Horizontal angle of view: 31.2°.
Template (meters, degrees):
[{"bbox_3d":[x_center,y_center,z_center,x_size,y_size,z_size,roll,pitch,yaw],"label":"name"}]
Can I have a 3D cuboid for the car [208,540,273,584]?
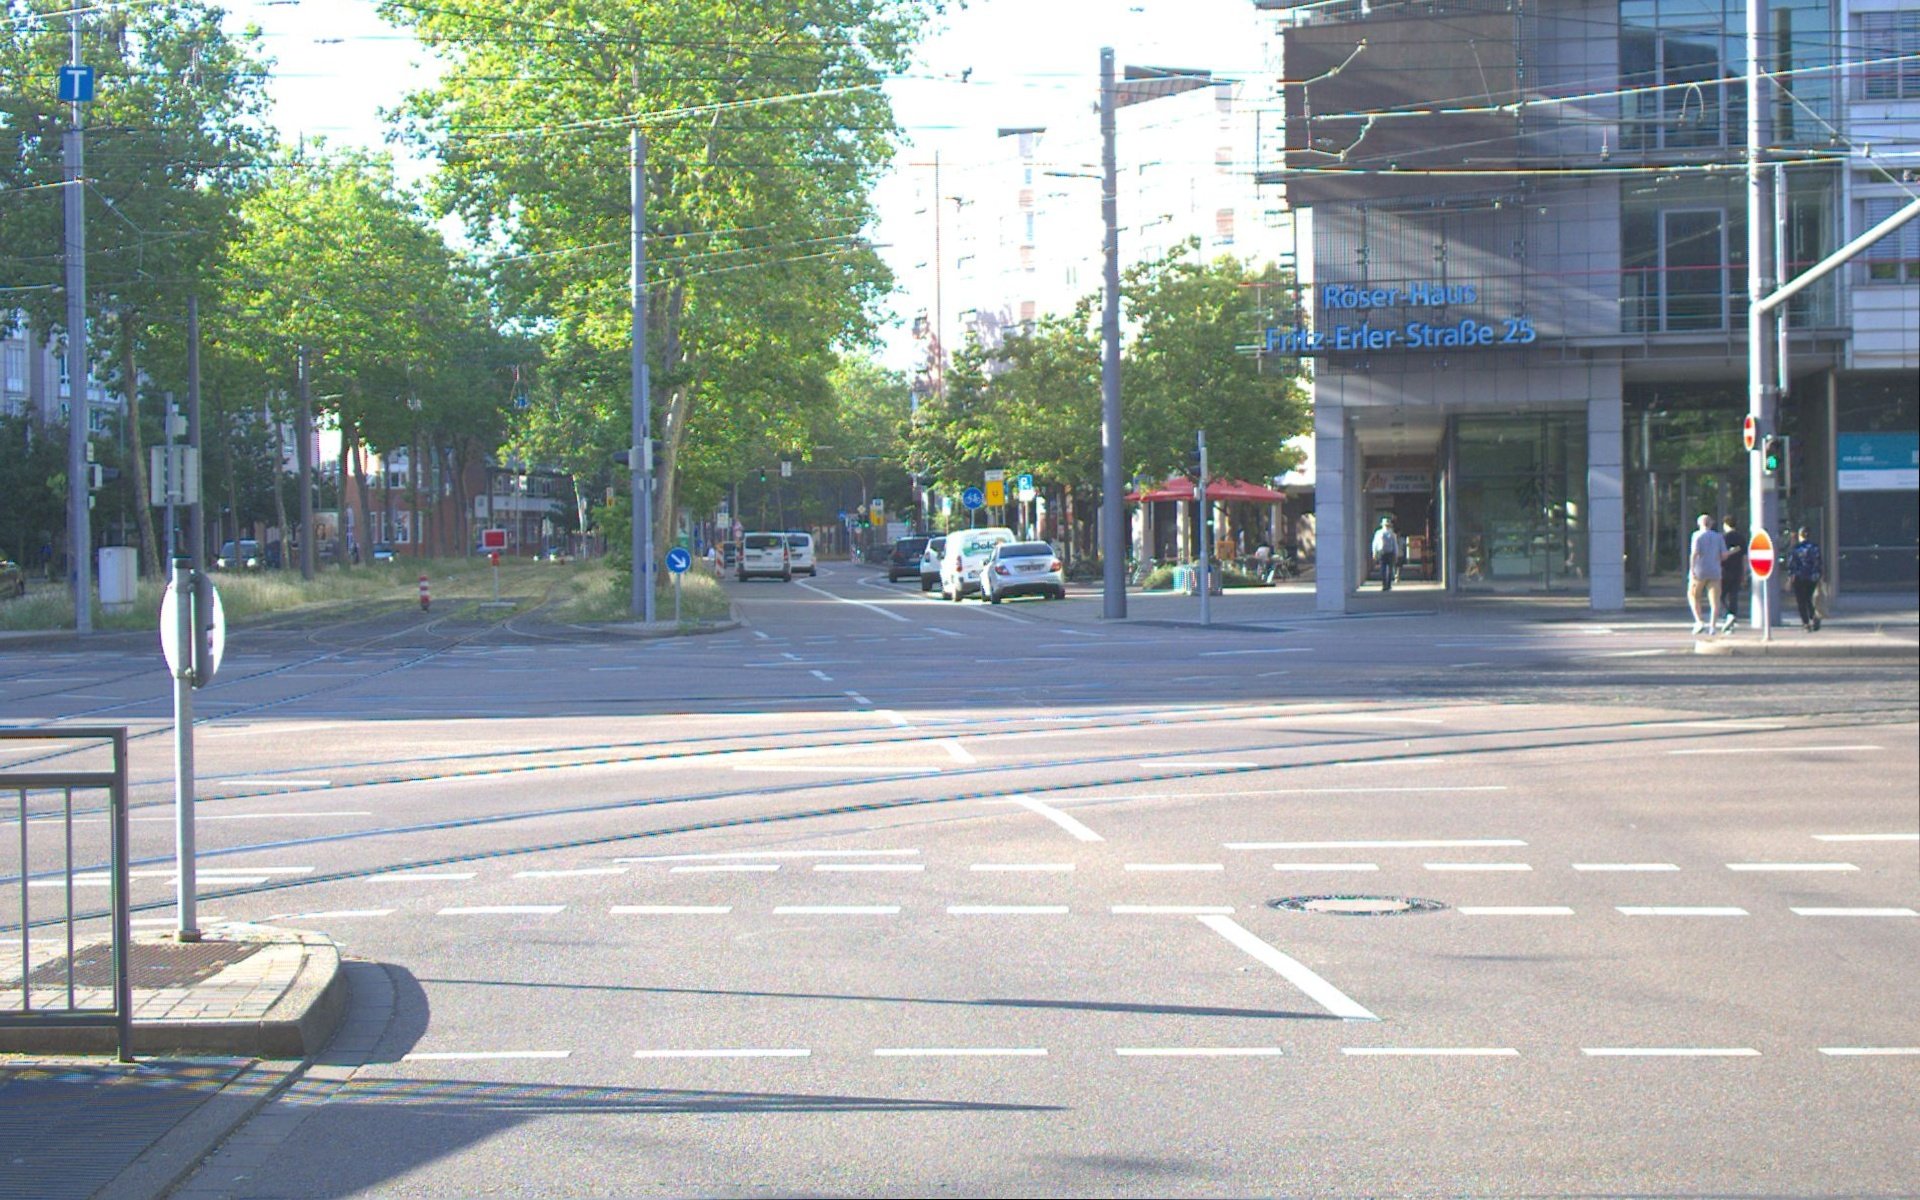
[{"bbox_3d":[-31.101,-1.651,148.643,1.993,1.809,4.000,-1,1,-1],"label":"car"}]

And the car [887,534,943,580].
[{"bbox_3d":[-1.643,-1.594,126.661,1.993,1.612,4.000,-1,1,0],"label":"car"}]

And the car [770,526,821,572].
[{"bbox_3d":[-7.001,-2.193,146.292,1.993,1.905,4.000,-1,1,-1],"label":"car"}]

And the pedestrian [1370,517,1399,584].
[{"bbox_3d":[9.641,-1.131,78.097,0.612,1.502,0.579,-1,1,7],"label":"pedestrian"}]

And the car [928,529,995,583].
[{"bbox_3d":[0.036,-1.356,105.211,1.993,1.612,4.000,-1,1,0],"label":"car"}]

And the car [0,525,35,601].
[{"bbox_3d":[-21.666,-0.796,74.918,1.993,1.634,4.000,-1,1,-1],"label":"car"}]

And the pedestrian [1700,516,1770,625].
[{"bbox_3d":[12.138,-0.470,53.894,0.912,1.679,1.035,-1,1,4],"label":"pedestrian"}]

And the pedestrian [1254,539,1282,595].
[{"bbox_3d":[9.409,-1.006,105.042,0.744,1.708,0.612,-1,1,-1],"label":"pedestrian"}]

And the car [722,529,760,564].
[{"bbox_3d":[-12.590,-3.089,197.698,1.993,2.007,4.000,-1,1,-1],"label":"car"}]

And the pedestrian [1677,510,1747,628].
[{"bbox_3d":[11.520,-0.476,52.677,0.863,1.782,0.871,-1,1,0],"label":"pedestrian"}]

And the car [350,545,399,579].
[{"bbox_3d":[-31.668,-2.062,185.960,1.993,1.809,4.000,-1,1,-1],"label":"car"}]

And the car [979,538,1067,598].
[{"bbox_3d":[1.492,-0.784,82.770,1.993,1.371,4.000,-1,1,-1],"label":"car"}]

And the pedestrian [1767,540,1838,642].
[{"bbox_3d":[13.190,-0.145,53.844,0.948,1.558,0.897,-1,1,6],"label":"pedestrian"}]

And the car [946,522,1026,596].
[{"bbox_3d":[0.648,-1.093,89.565,1.993,1.853,4.000,-1,1,-1],"label":"car"}]

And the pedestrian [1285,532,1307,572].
[{"bbox_3d":[10.746,-1.536,110.053,0.577,1.284,0.910,-1,1,-1],"label":"pedestrian"}]

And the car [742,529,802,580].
[{"bbox_3d":[-7.034,-1.733,129.202,1.961,1.842,5.330,-1,1,0],"label":"car"}]
